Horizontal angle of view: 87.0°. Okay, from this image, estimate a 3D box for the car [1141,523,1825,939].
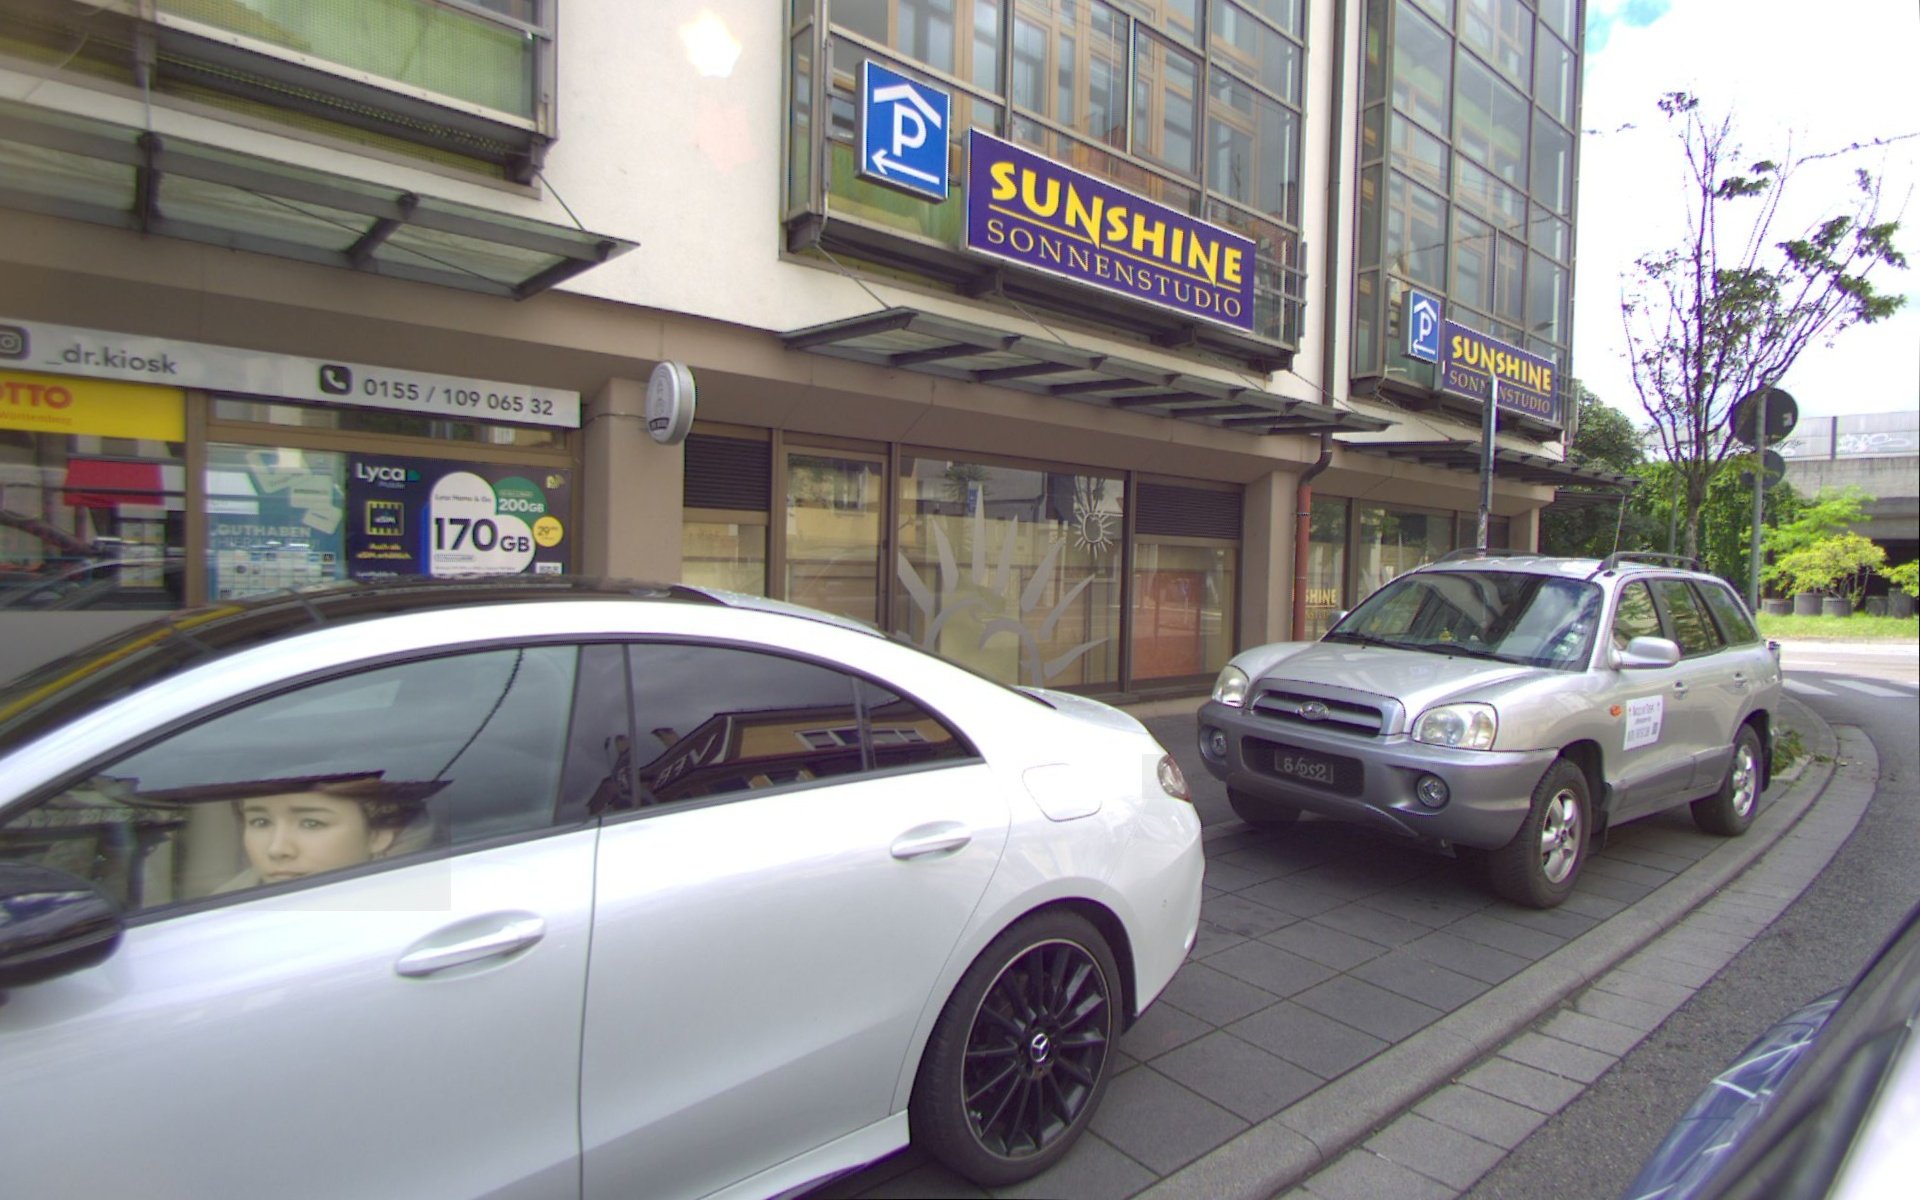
[{"bbox_3d":[3.327,0.479,6.104,4.382,1.681,1.827,0,3,-36],"label":"car"}]

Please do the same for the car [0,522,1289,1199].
[{"bbox_3d":[-1.305,0.611,2.361,4.455,1.463,1.856,0,1,-40],"label":"car"}]
